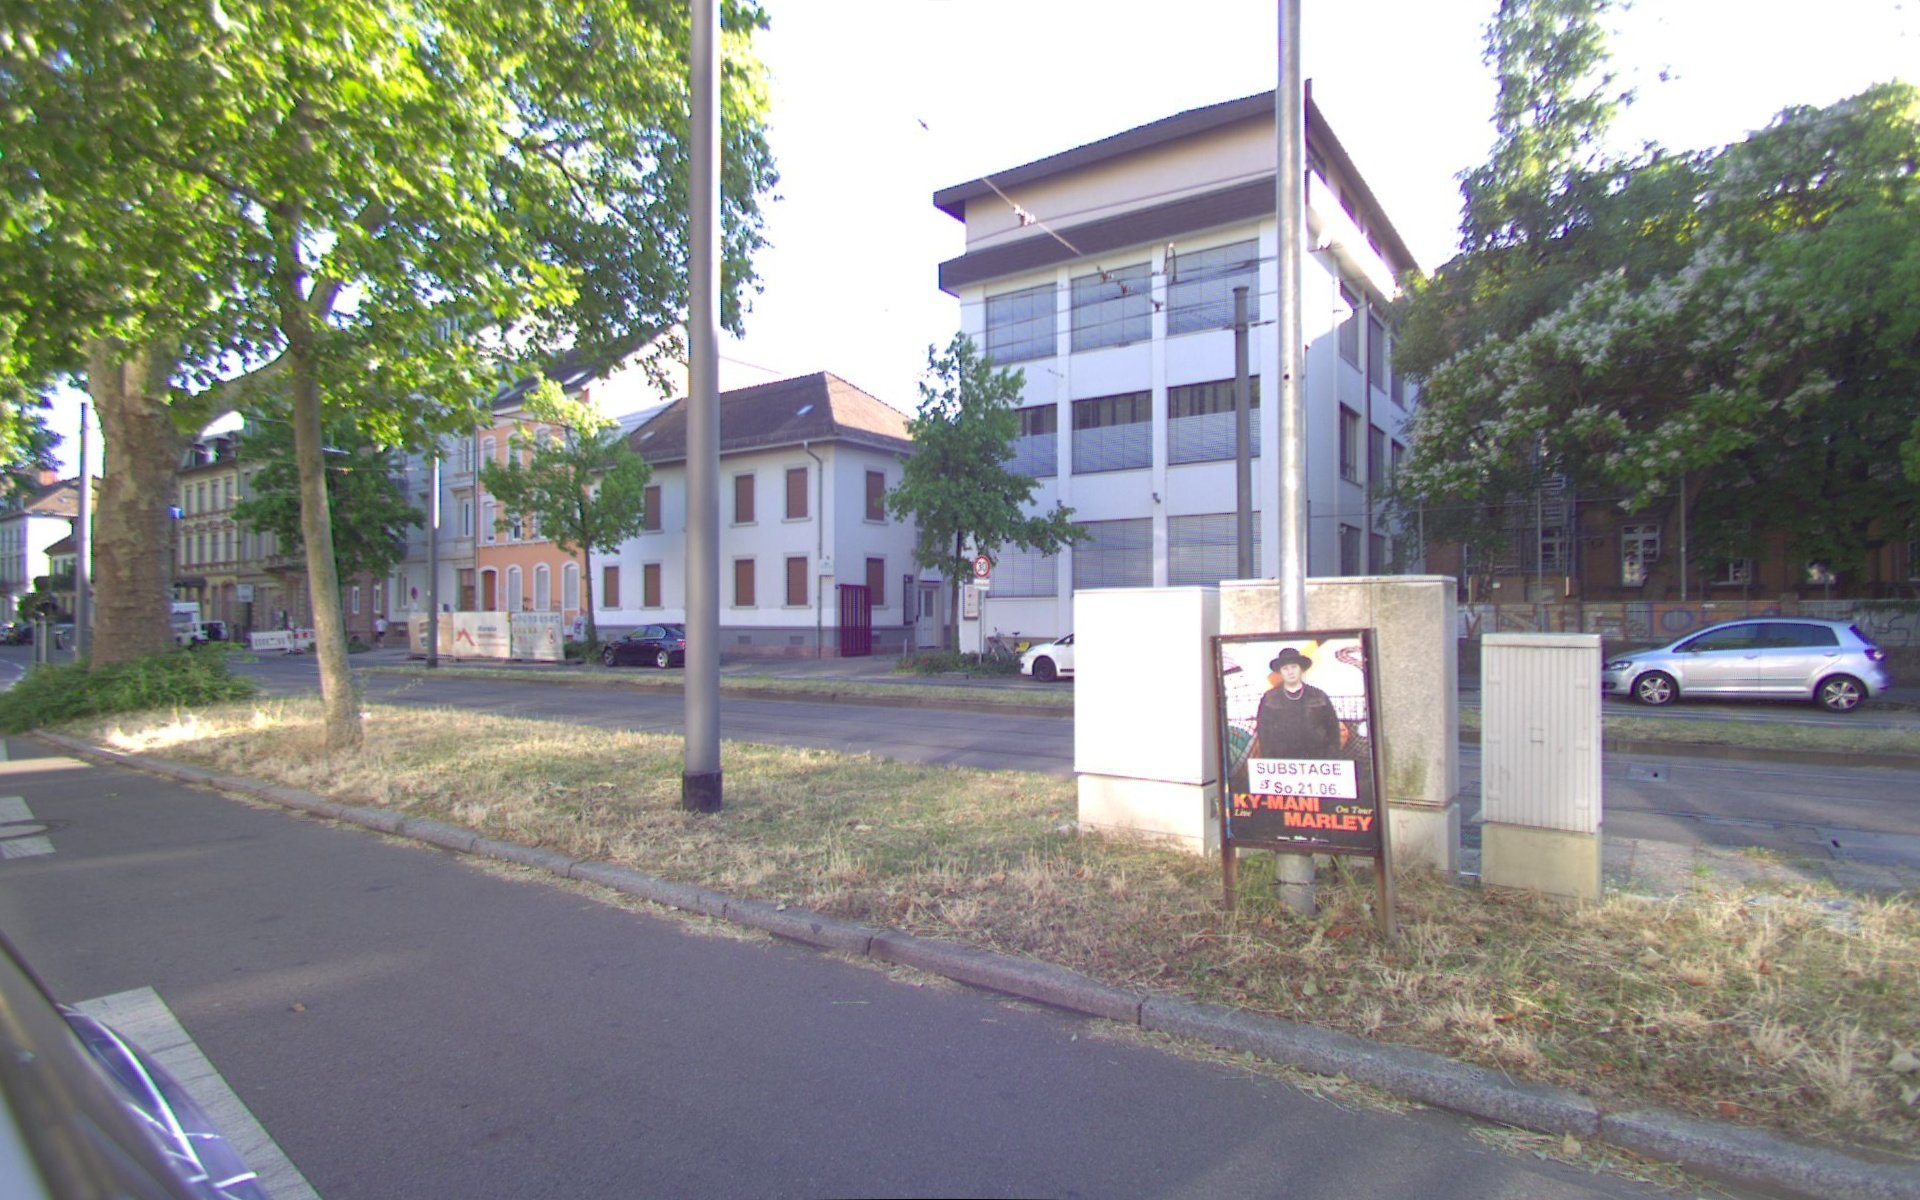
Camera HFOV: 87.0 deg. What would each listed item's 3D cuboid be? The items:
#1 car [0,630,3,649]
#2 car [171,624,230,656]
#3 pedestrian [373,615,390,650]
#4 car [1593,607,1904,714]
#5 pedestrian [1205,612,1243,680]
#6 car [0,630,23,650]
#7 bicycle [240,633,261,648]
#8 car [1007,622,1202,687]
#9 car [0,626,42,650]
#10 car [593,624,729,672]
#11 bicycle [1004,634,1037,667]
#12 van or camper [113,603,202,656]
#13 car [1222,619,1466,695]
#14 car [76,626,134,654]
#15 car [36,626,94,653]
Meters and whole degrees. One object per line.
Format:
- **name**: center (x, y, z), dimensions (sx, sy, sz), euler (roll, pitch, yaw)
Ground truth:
- **car**: center (-80.939, 3.313, 83.842), dimensions (4.460, 1.502, 1.569), euler (-1, 0, 35)
- **car**: center (-43.575, 2.288, 58.029), dimensions (3.361, 1.718, 1.618), euler (-1, 1, 33)
- **pedestrian**: center (-30.740, 1.723, 53.776), dimensions (0.480, 1.832, 0.592), euler (-1, -2, 36)
- **car**: center (13.831, 1.023, 18.124), dimensions (4.167, 1.702, 1.977), euler (-1, -2, 34)
- **pedestrian**: center (6.510, 1.131, 24.984), dimensions (0.730, 1.633, 0.630), euler (-1, -1, 34)
- **car**: center (-76.517, 3.176, 80.721), dimensions (4.394, 1.465, 1.649), euler (-1, 1, 35)
- **bicycle**: center (-44.537, 2.546, 63.499), dimensions (1.789, 0.931, 0.573), euler (-1, -2, 38)
- **car**: center (3.539, 1.294, 25.149), dimensions (4.394, 1.482, 1.977), euler (-1, -2, 34)
- **car**: center (-72.787, 2.920, 78.401), dimensions (3.618, 1.759, 1.709), euler (-1, 1, 36)
- **car**: center (-10.256, 1.607, 34.564), dimensions (4.714, 1.525, 1.976), euler (-1, -2, 35)
- **bicycle**: center (1.881, 1.570, 31.519), dimensions (1.016, 1.010, 0.300), euler (-1, -2, 34)
- **van or camper**: center (-48.878, 1.783, 61.602), dimensions (7.238, 2.969, 2.398), euler (-1, 2, 37)
- **car**: center (8.261, 1.179, 21.942), dimensions (4.637, 1.487, 1.977), euler (-1, -2, 34)
- **car**: center (-56.667, 2.644, 67.072), dimensions (4.432, 1.718, 1.795), euler (-1, 2, 35)
- **car**: center (-63.044, 2.777, 71.276), dimensions (4.739, 1.715, 1.977), euler (-1, 2, 35)
